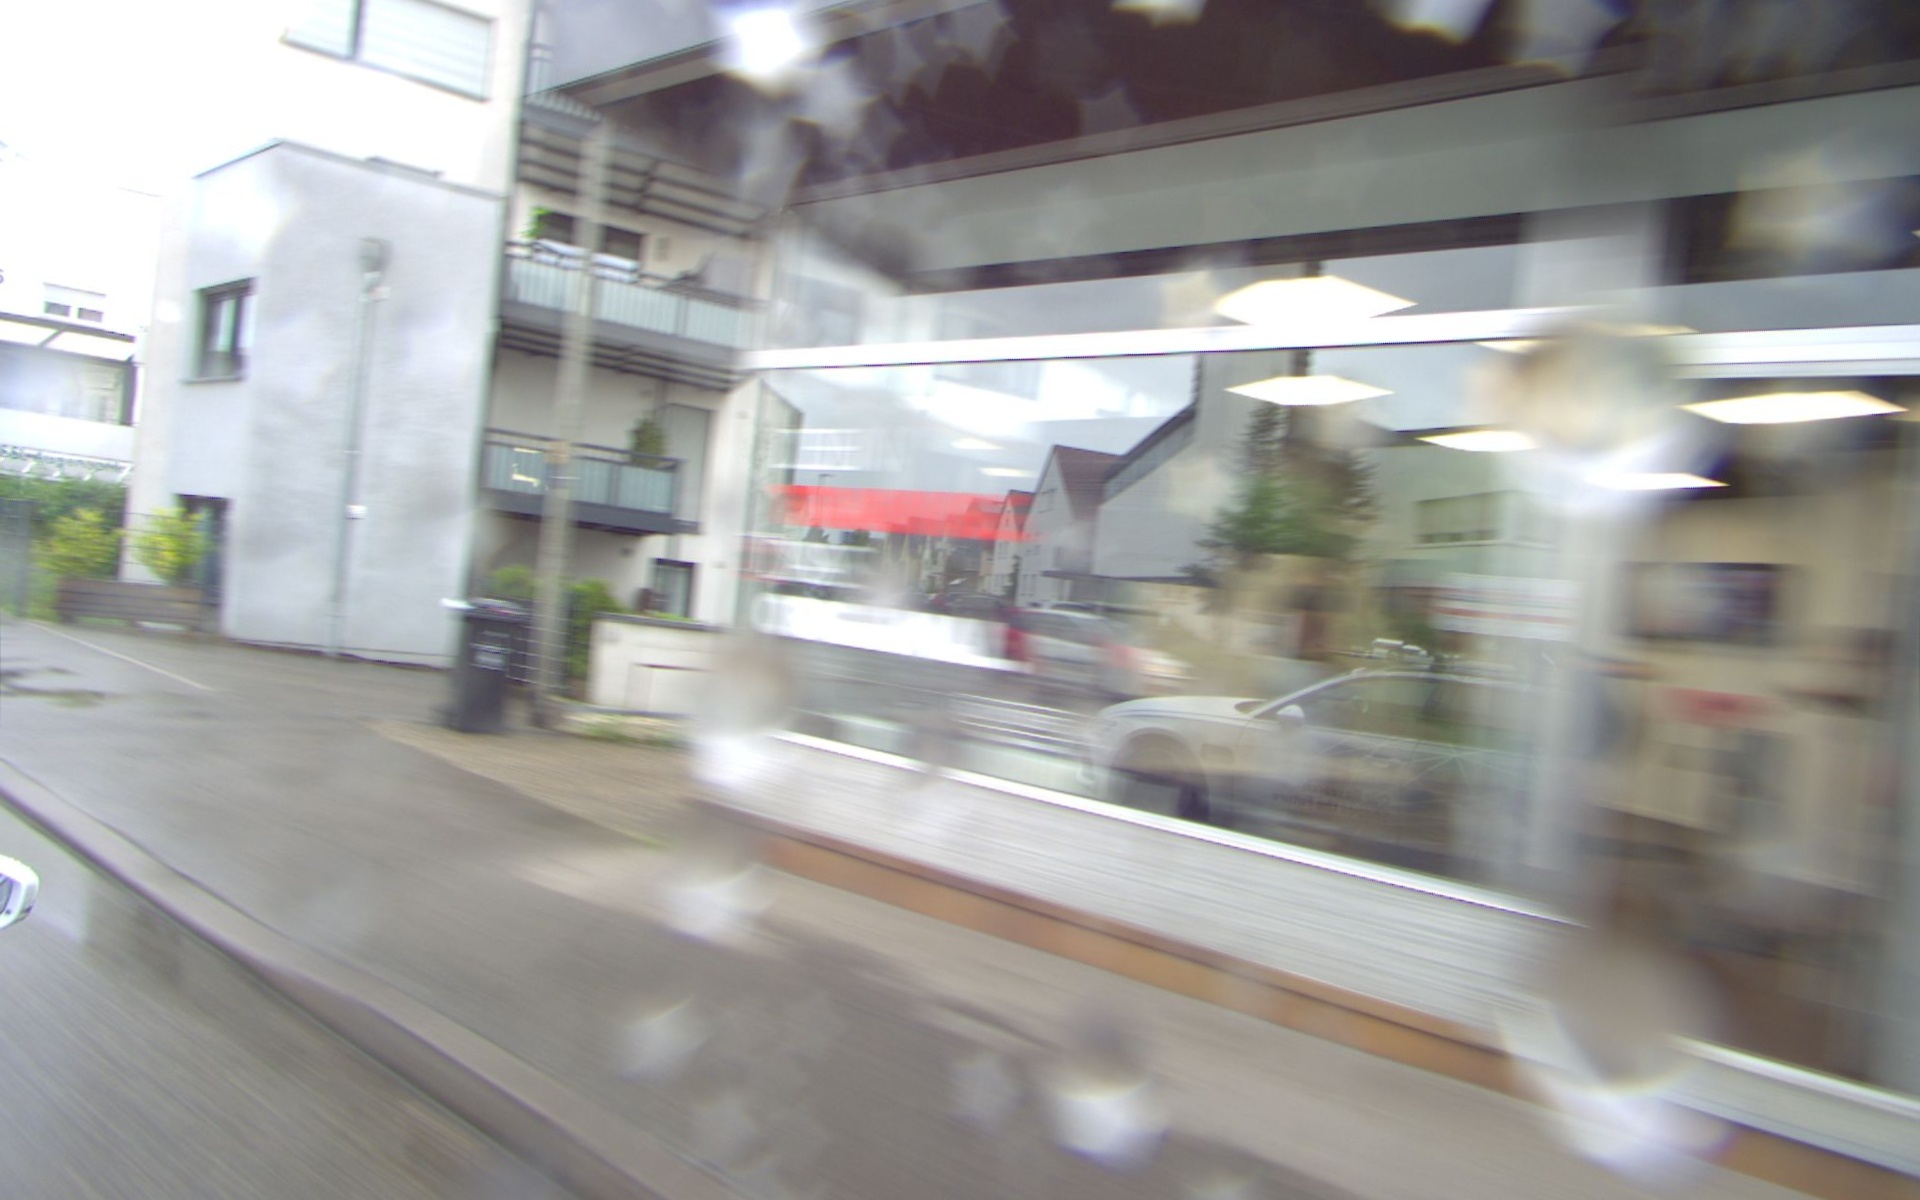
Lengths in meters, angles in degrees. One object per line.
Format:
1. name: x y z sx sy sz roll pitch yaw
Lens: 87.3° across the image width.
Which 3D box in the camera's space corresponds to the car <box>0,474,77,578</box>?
1. car: -19.338 -1.610 19.381 4.611 1.807 1.997 7 0 29
